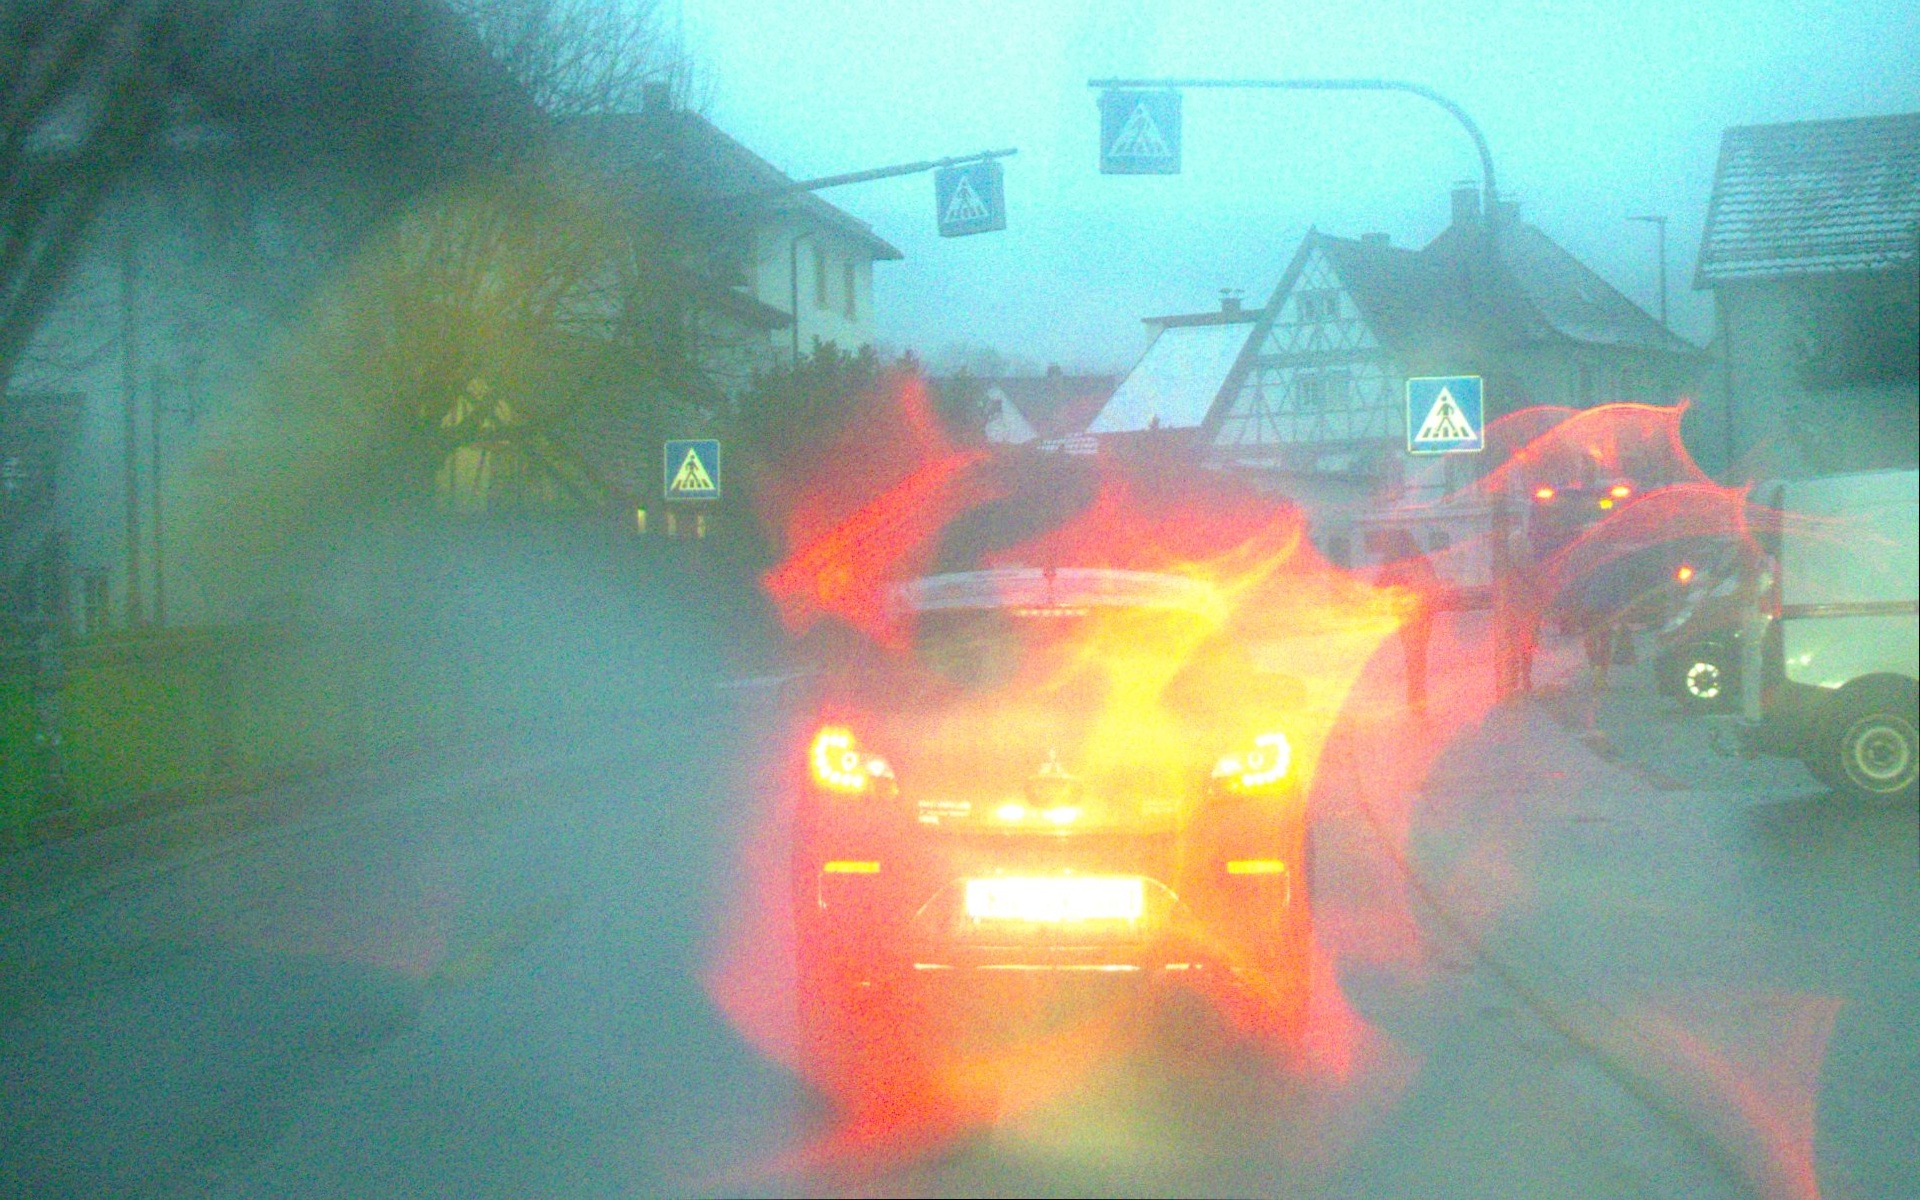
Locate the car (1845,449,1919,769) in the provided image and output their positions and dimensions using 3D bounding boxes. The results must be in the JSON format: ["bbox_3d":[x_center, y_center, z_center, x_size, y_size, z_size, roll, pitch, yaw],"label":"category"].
[{"bbox_3d":[7.997,-0.091,20.823,4.983,1.882,1.936,-3,1,14],"label":"car"}]

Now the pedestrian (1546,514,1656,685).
[{"bbox_3d":[6.739,-0.012,36.132,0.849,1.727,0.970,-4,0,22],"label":"pedestrian"}]

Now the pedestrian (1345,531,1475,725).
[{"bbox_3d":[4.226,0.255,32.256,0.880,1.729,0.954,-4,0,22],"label":"pedestrian"}]

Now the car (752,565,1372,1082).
[{"bbox_3d":[0.331,0.629,11.960,1.795,1.471,4.000,0,1,1],"label":"car"}]

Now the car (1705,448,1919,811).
[{"bbox_3d":[6.185,0.070,18.552,4.043,1.837,1.863,-3,0,9],"label":"car"}]

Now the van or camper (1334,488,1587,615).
[{"bbox_3d":[13.355,-1.274,91.847,6.070,2.945,2.402,-4,-1,29],"label":"van or camper"}]

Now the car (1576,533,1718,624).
[{"bbox_3d":[12.813,-0.422,63.968,1.849,1.631,4.331,0,1,22],"label":"car"}]

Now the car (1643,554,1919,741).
[{"bbox_3d":[7.290,0.383,29.291,2.765,1.469,1.426,-3,0,14],"label":"car"}]

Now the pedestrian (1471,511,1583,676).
[{"bbox_3d":[6.000,-0.073,36.351,0.868,1.661,0.991,-4,0,22],"label":"pedestrian"}]
